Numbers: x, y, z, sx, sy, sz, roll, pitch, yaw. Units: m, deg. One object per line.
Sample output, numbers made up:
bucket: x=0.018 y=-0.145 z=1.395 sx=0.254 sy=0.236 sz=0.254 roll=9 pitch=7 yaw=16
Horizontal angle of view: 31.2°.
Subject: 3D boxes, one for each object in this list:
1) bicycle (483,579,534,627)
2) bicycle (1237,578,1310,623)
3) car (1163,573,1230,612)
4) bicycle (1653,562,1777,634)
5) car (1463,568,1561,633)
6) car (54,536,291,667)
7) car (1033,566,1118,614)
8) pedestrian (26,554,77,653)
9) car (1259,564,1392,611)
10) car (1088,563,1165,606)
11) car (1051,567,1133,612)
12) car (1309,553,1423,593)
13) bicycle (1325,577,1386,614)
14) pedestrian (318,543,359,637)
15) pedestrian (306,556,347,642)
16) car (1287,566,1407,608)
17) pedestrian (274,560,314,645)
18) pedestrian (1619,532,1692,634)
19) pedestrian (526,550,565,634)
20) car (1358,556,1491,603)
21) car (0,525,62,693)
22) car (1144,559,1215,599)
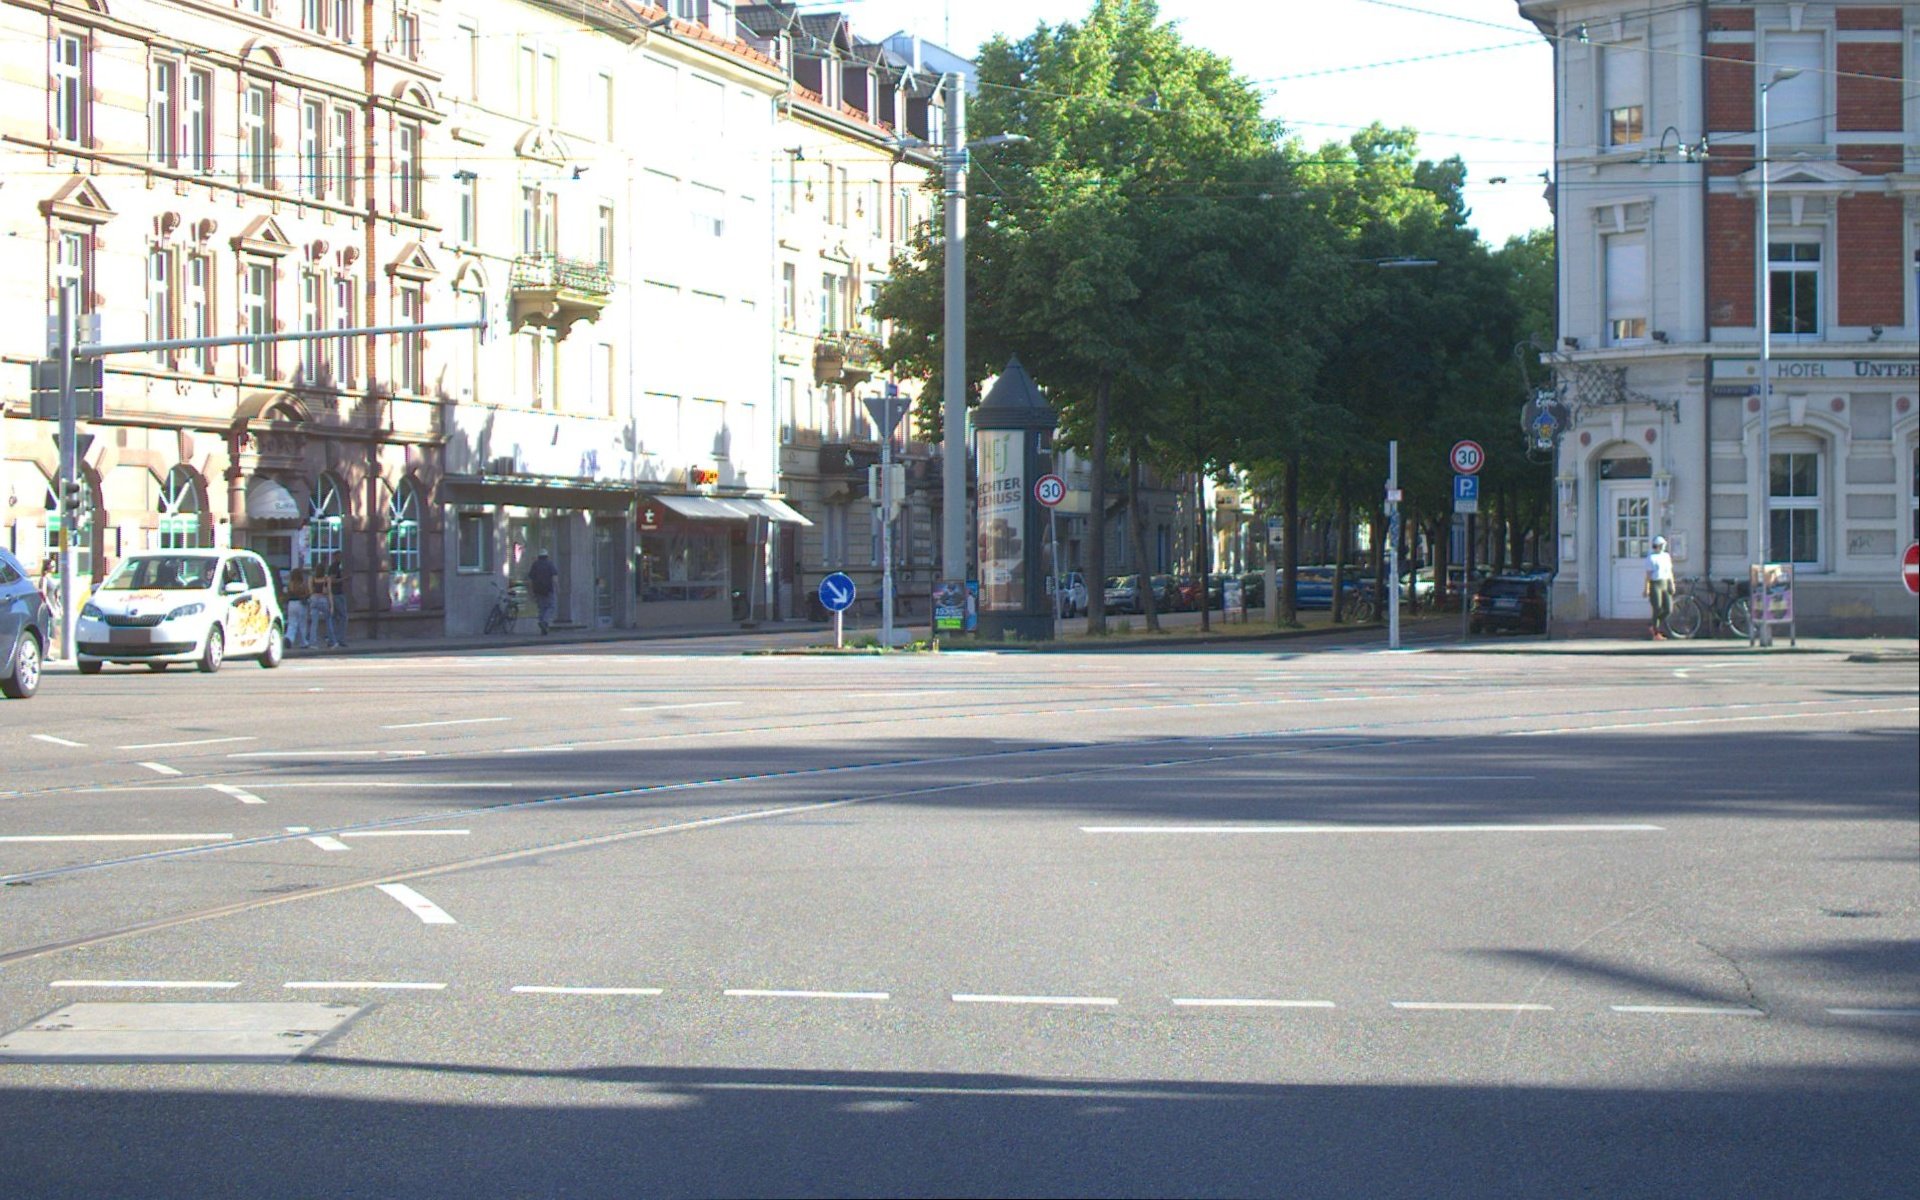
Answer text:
bicycle: x=-10.437 y=0.066 z=79.558 sx=0.495 sy=1.063 sz=1.768 roll=0 pitch=1 yaw=16
bicycle: x=7.541 y=0.003 z=82.763 sx=0.582 sy=1.063 sz=1.949 roll=-1 pitch=1 yaw=-37
car: x=9.403 y=-0.320 z=136.537 sx=1.995 sy=1.492 sz=4.031 roll=0 pitch=1 yaw=14
bicycle: x=12.550 y=-0.031 z=57.181 sx=1.961 sy=1.186 sz=0.546 roll=0 pitch=1 yaw=5
car: x=13.263 y=-0.004 z=82.421 sx=1.995 sy=1.492 sz=4.031 roll=0 pitch=1 yaw=14
car: x=-9.360 y=-0.016 z=41.118 sx=1.718 sy=1.492 sz=3.583 roll=0 pitch=1 yaw=5
car: x=3.800 y=-0.344 z=112.878 sx=1.995 sy=1.492 sz=4.031 roll=0 pitch=1 yaw=14
pedestrian: x=-15.120 y=0.062 z=57.232 sx=0.631 sy=1.636 sz=0.552 roll=0 pitch=1 yaw=13
car: x=12.312 y=-0.425 z=115.670 sx=3.993 sy=1.540 sz=1.997 roll=0 pitch=1 yaw=28
car: x=5.968 y=-0.572 z=122.599 sx=1.995 sy=1.492 sz=4.031 roll=0 pitch=1 yaw=14
car: x=4.515 y=-0.373 z=117.116 sx=1.995 sy=1.492 sz=4.031 roll=0 pitch=1 yaw=14
car: x=15.880 y=-1.044 z=134.439 sx=3.993 sy=1.540 sz=1.997 roll=0 pitch=1 yaw=28
bicycle: x=11.416 y=-0.136 z=99.289 sx=0.582 sy=1.063 sz=1.949 roll=-1 pitch=1 yaw=-37
pedestrian: x=-12.202 y=-0.200 z=67.509 sx=0.580 sy=1.830 sz=0.632 roll=0 pitch=1 yaw=16
pedestrian: x=-12.229 y=-0.020 z=66.382 sx=0.551 sy=1.636 sz=0.632 roll=0 pitch=1 yaw=17
car: x=14.434 y=-0.500 z=128.310 sx=3.993 sy=1.540 sz=1.997 roll=0 pitch=1 yaw=28
pedestrian: x=-12.864 y=0.045 z=66.404 sx=0.551 sy=1.636 sz=0.537 roll=0 pitch=1 yaw=17
pedestrian: x=11.471 y=-0.282 z=56.694 sx=0.716 sy=1.664 sz=0.939 roll=-1 pitch=1 yaw=-44
pedestrian: x=-9.489 y=-0.186 z=78.788 sx=0.682 sy=1.902 sz=0.632 roll=0 pitch=1 yaw=16
car: x=15.732 y=-0.701 z=116.524 sx=3.994 sy=1.540 sz=1.997 roll=0 pitch=1 yaw=31
car: x=-9.439 y=0.093 z=29.931 sx=1.774 sy=1.492 sz=4.573 roll=0 pitch=1 yaw=4
car: x=8.445 y=-0.807 z=131.992 sx=1.995 sy=1.492 sz=4.031 roll=0 pitch=1 yaw=14
